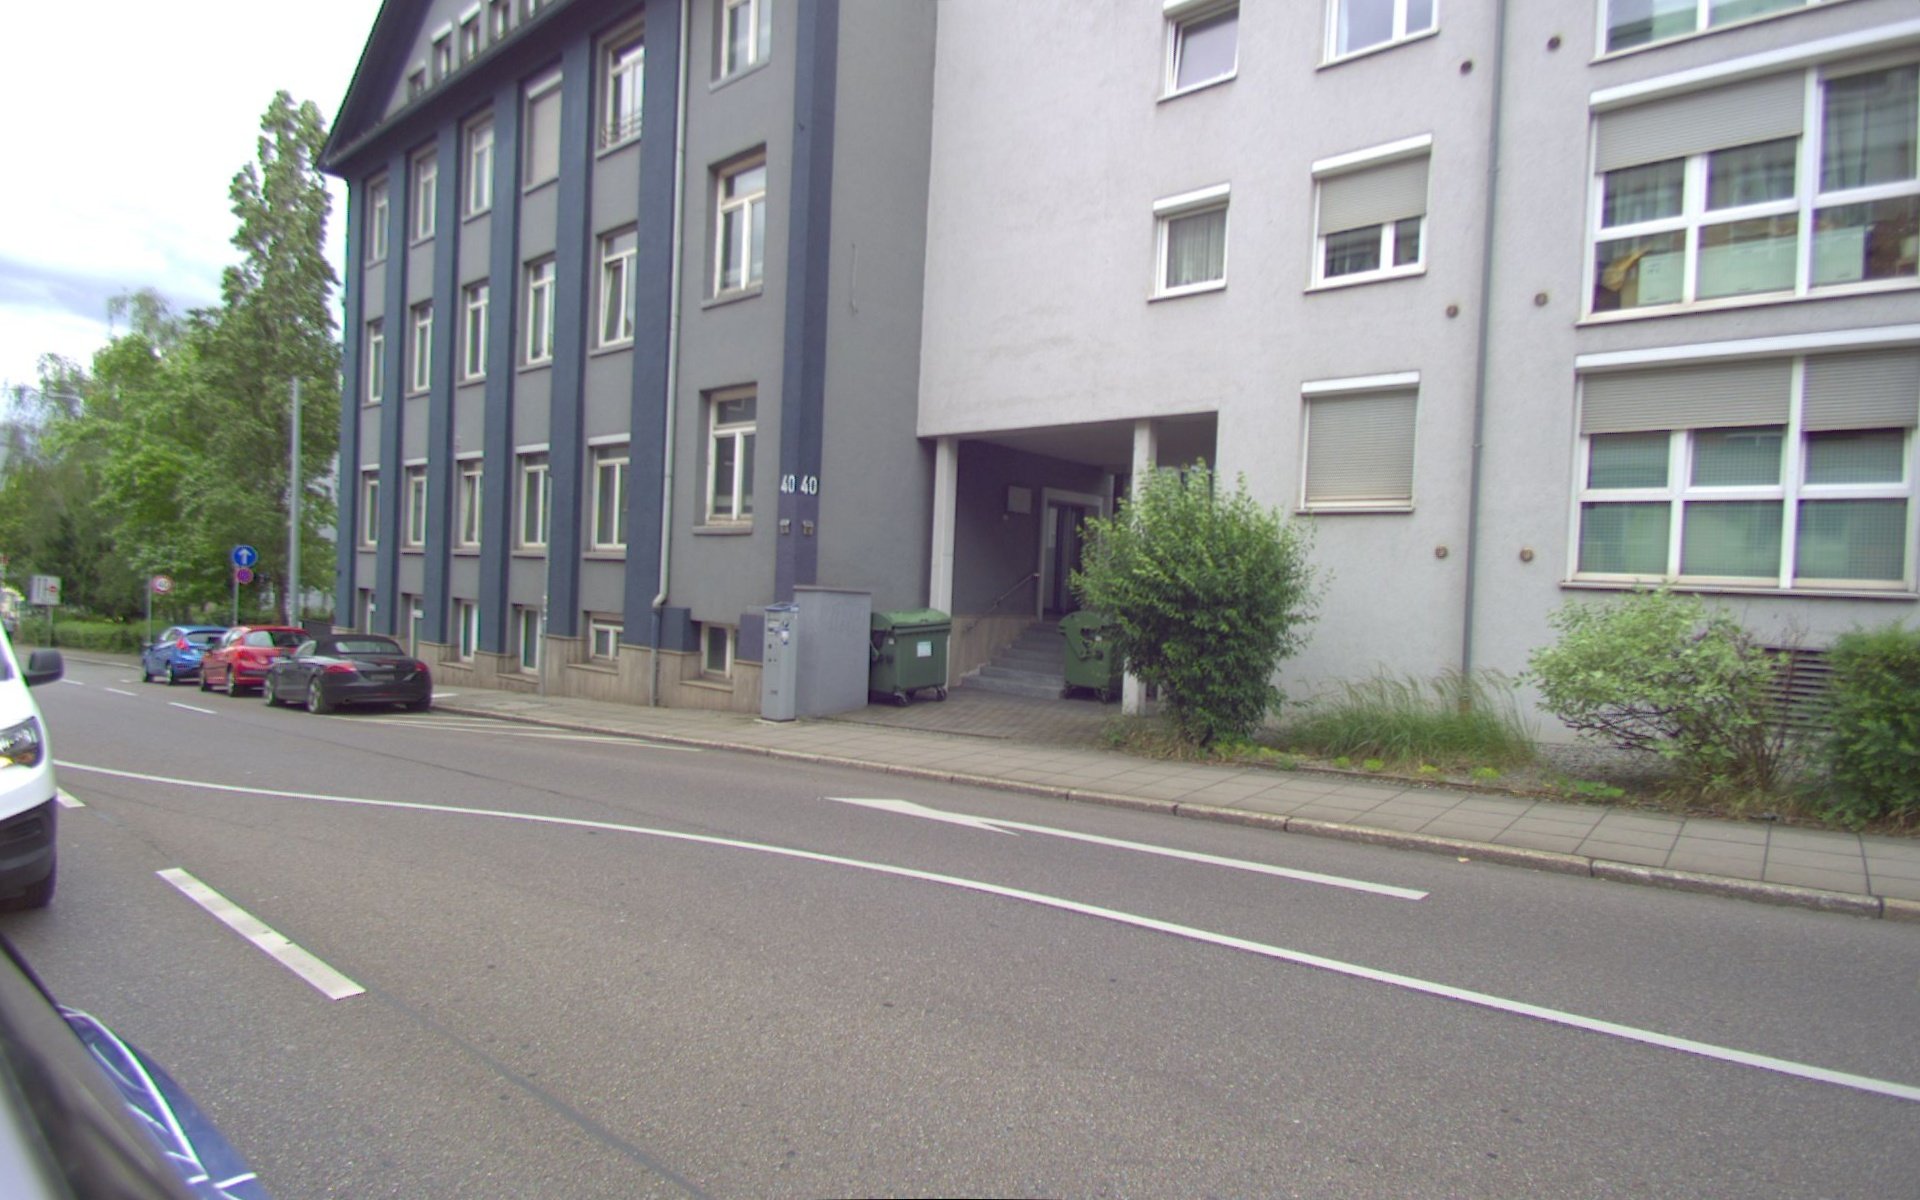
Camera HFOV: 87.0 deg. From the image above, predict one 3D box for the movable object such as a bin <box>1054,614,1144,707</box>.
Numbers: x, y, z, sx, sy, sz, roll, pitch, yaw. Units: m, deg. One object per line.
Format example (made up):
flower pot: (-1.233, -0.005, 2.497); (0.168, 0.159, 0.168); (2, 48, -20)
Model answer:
movable object such as a bin: (2.272, 0.955, 16.537); (1.078, 1.427, 1.026); (-1, 0, 41)

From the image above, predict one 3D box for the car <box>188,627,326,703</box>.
car: (-15.356, 1.347, 22.037); (3.727, 1.460, 1.623); (-1, 0, 41)

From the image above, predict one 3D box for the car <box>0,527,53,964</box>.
car: (-6.132, 0.659, 5.206); (3.998, 1.901, 1.716); (-1, 0, 41)

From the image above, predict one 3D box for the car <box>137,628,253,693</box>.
car: (-19.436, 1.475, 25.660); (3.727, 1.460, 1.623); (-1, 0, 41)

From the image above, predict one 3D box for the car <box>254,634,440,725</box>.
car: (-11.000, 1.337, 18.084); (3.727, 1.403, 1.778); (-1, -2, 41)

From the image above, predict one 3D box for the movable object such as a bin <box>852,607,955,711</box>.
movable object such as a bin: (-0.877, 0.887, 15.746); (1.039, 1.518, 1.213); (-1, 0, 41)
